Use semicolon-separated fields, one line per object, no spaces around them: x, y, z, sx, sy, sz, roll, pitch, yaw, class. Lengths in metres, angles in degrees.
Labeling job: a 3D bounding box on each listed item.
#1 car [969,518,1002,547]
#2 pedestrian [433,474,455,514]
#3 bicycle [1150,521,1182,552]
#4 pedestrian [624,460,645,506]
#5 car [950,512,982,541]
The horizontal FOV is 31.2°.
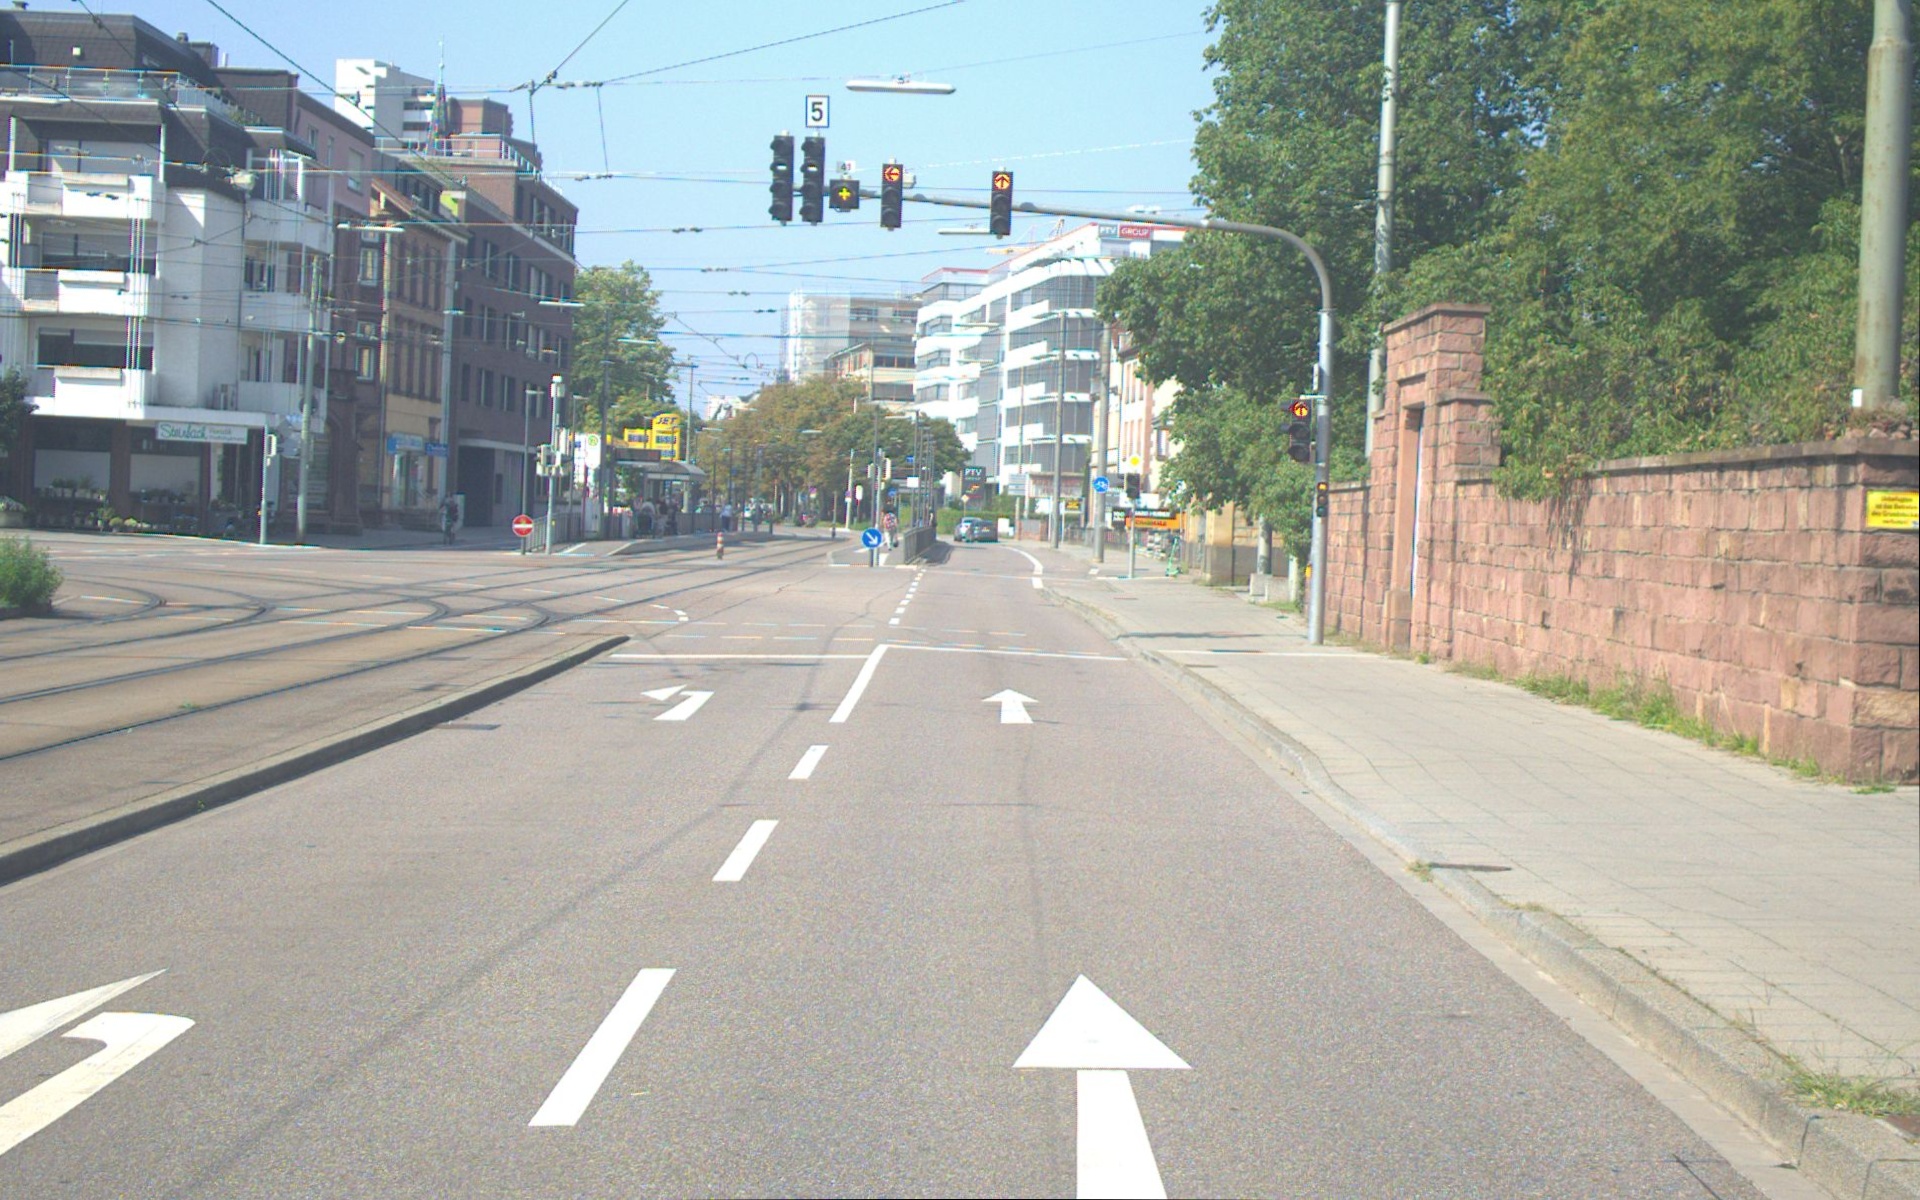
1.656;-4.340;221.023;2.011;1.852;4.000;1;1;2;car
-20.547;-4.224;136.846;0.483;1.554;0.886;4;0;11;pedestrian
7.875;-2.430;131.470;0.731;1.129;2.840;-1;2;-7;bicycle
-12.286;-4.409;129.817;0.708;1.717;0.799;1;1;1;pedestrian
0.409;-4.847;227.069;2.011;1.852;4.000;1;1;2;car
